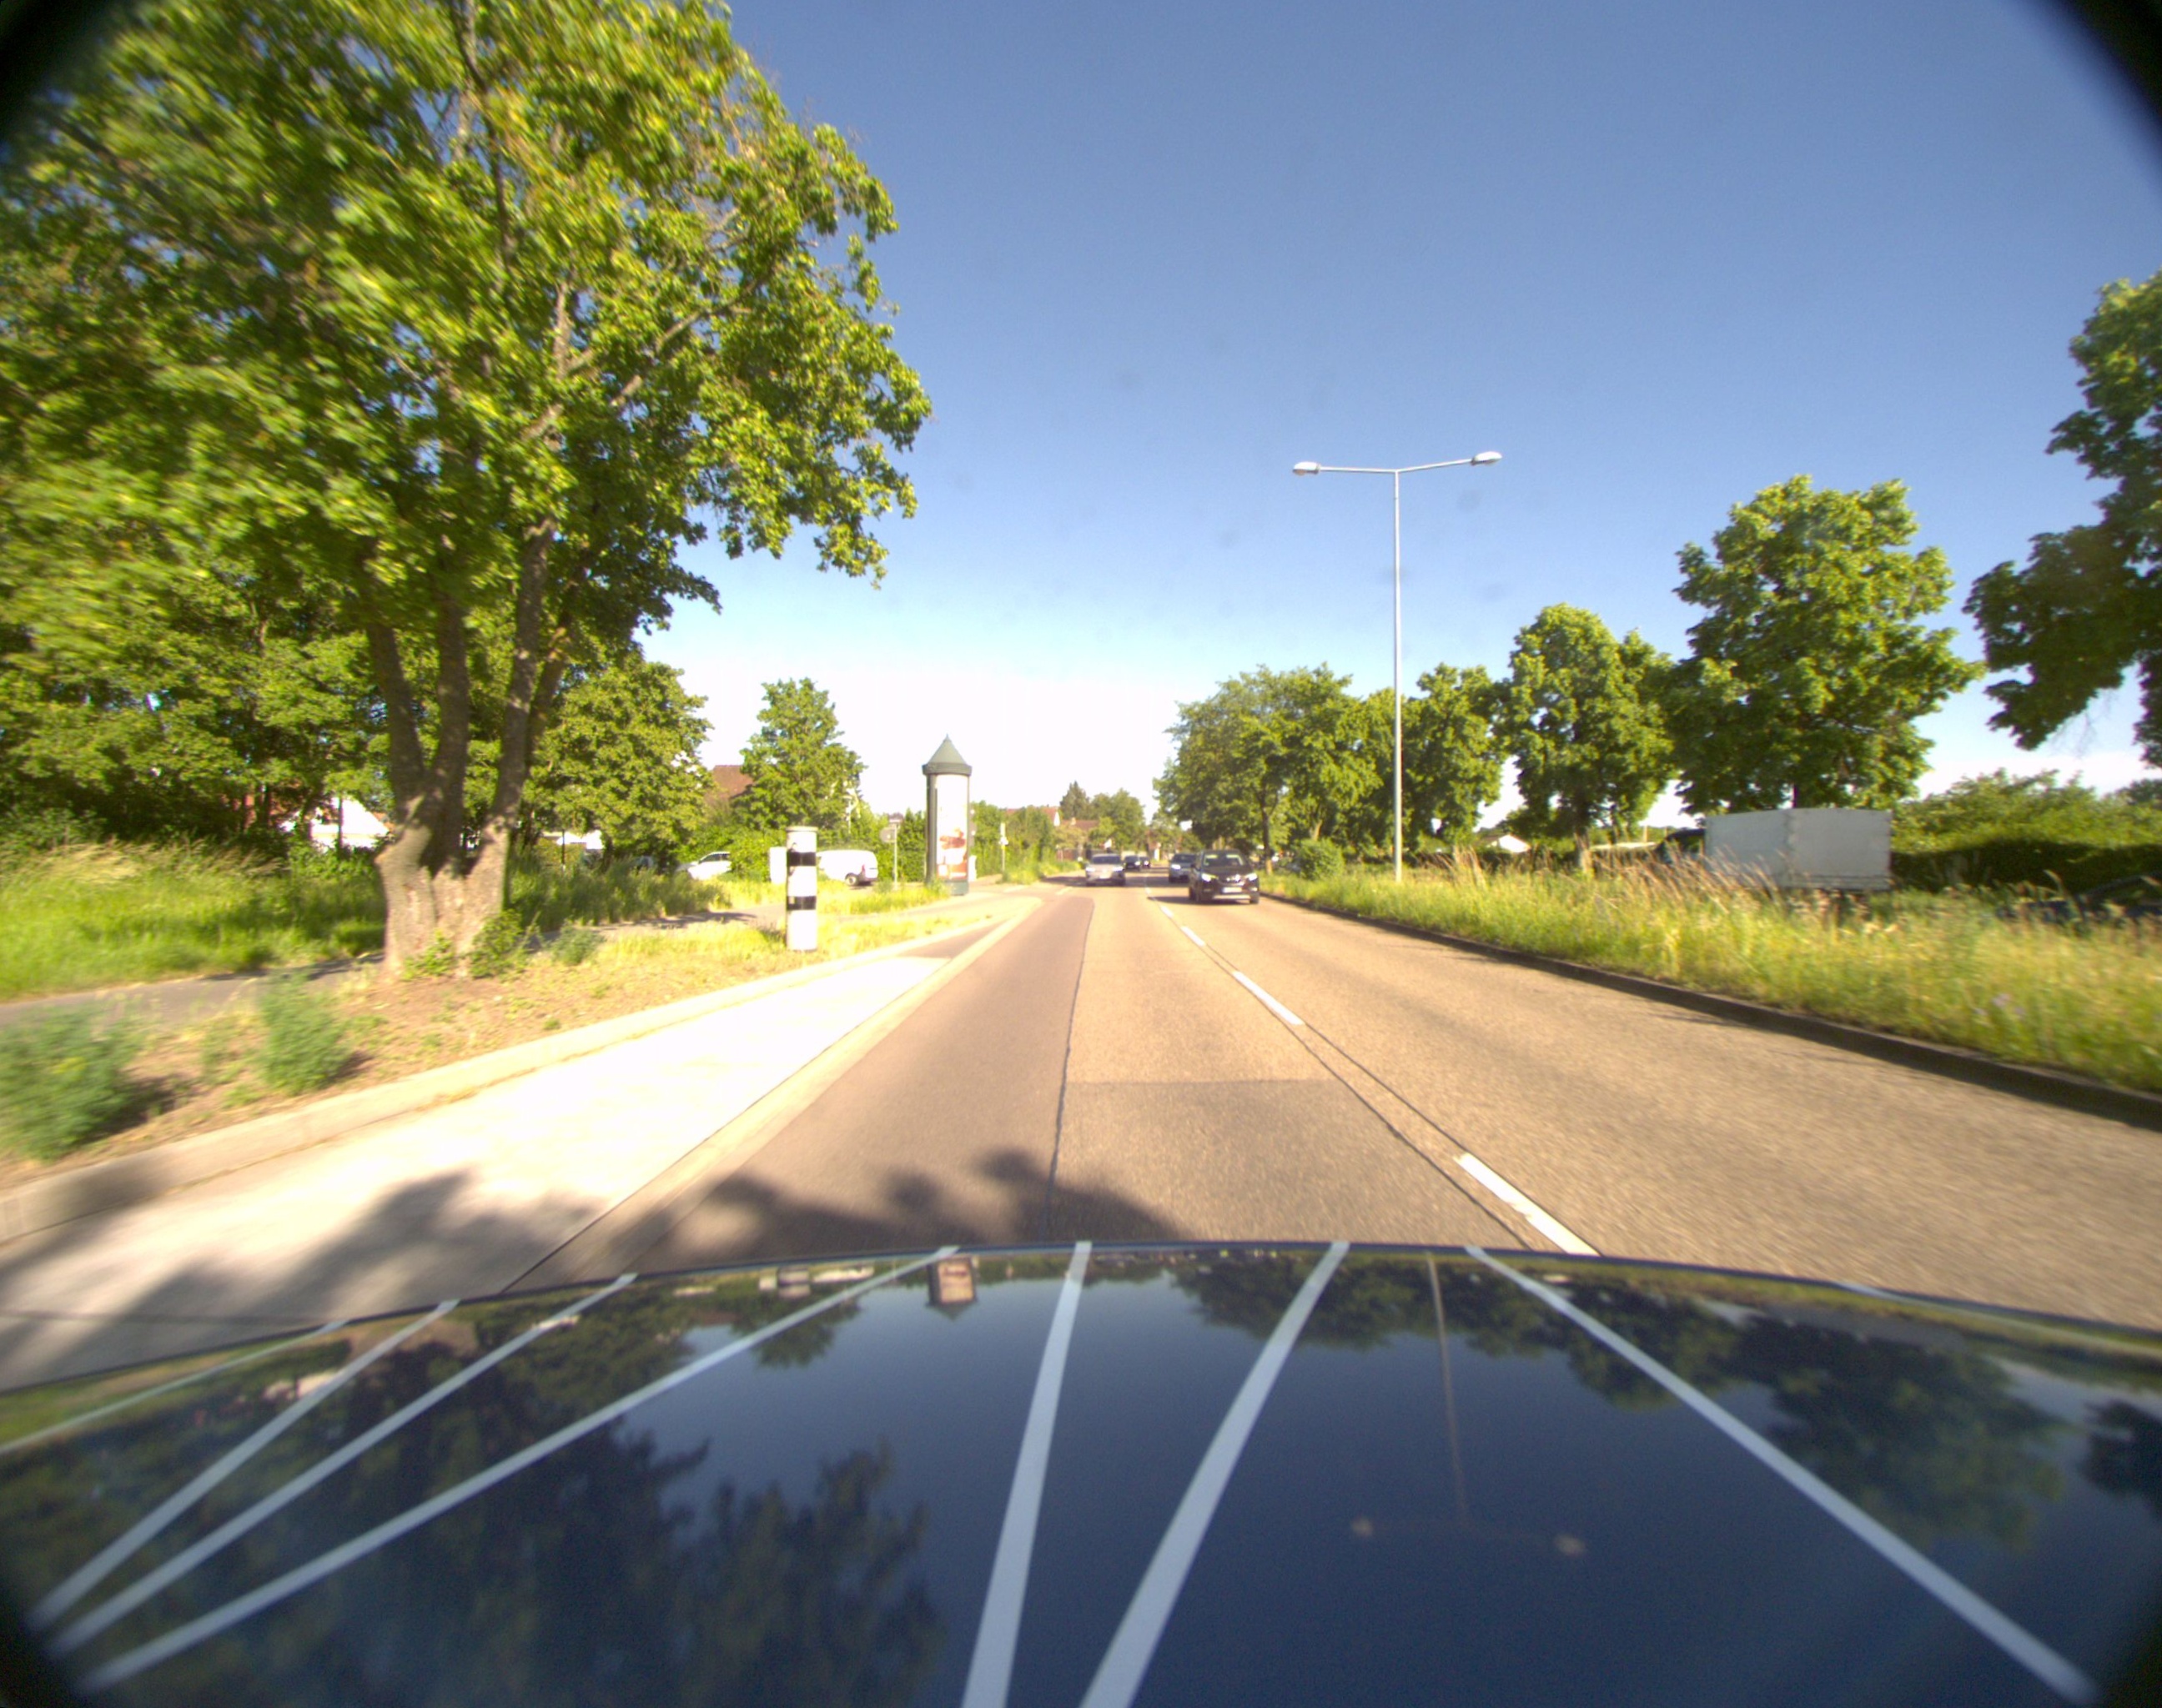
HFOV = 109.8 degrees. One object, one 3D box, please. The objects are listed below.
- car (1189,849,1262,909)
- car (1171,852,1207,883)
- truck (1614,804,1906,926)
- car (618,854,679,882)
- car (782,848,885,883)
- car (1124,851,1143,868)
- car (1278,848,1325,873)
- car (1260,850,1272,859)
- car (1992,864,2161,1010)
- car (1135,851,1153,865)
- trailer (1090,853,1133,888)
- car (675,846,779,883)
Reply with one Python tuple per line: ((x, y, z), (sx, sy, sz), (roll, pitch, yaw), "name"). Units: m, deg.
((4.385, 0.695, 23.600), (1.810, 1.605, 4.515), (0, 1, 6), "car")
((5.827, 0.704, 41.293), (1.822, 1.553, 4.648), (-1, 0, 7), "car")
((16.384, 0.218, 18.952), (2.177, 2.498, 5.742), (2, 0, 2), "truck")
((-23.183, 0.751, 40.756), (2.350, 1.480, 1.541), (0, -1, 7), "car")
((-12.758, 0.606, 39.328), (4.639, 1.791, 1.934), (0, -1, 7), "car")
((5.107, 0.510, 74.103), (1.823, 1.553, 4.273), (-1, 1, 4), "car")
((15.208, 0.393, 52.742), (1.860, 1.596, 5.575), (1, 0, 3), "car")
((31.515, 0.137, 129.486), (1.694, 1.428, 4.947), (2, 1, 18), "car")
((12.820, 0.939, 7.972), (1.699, 1.573, 4.024), (0, 0, 0), "car")
((7.809, 0.495, 94.077), (1.822, 1.587, 4.276), (-1, 0, 11), "car")
((1.559, 0.782, 37.993), (1.896, 1.585, 4.002), (-2, 0, 5), "trailer")
((-18.519, 0.570, 39.869), (4.526, 1.857, 2.073), (0, -1, 7), "car")
